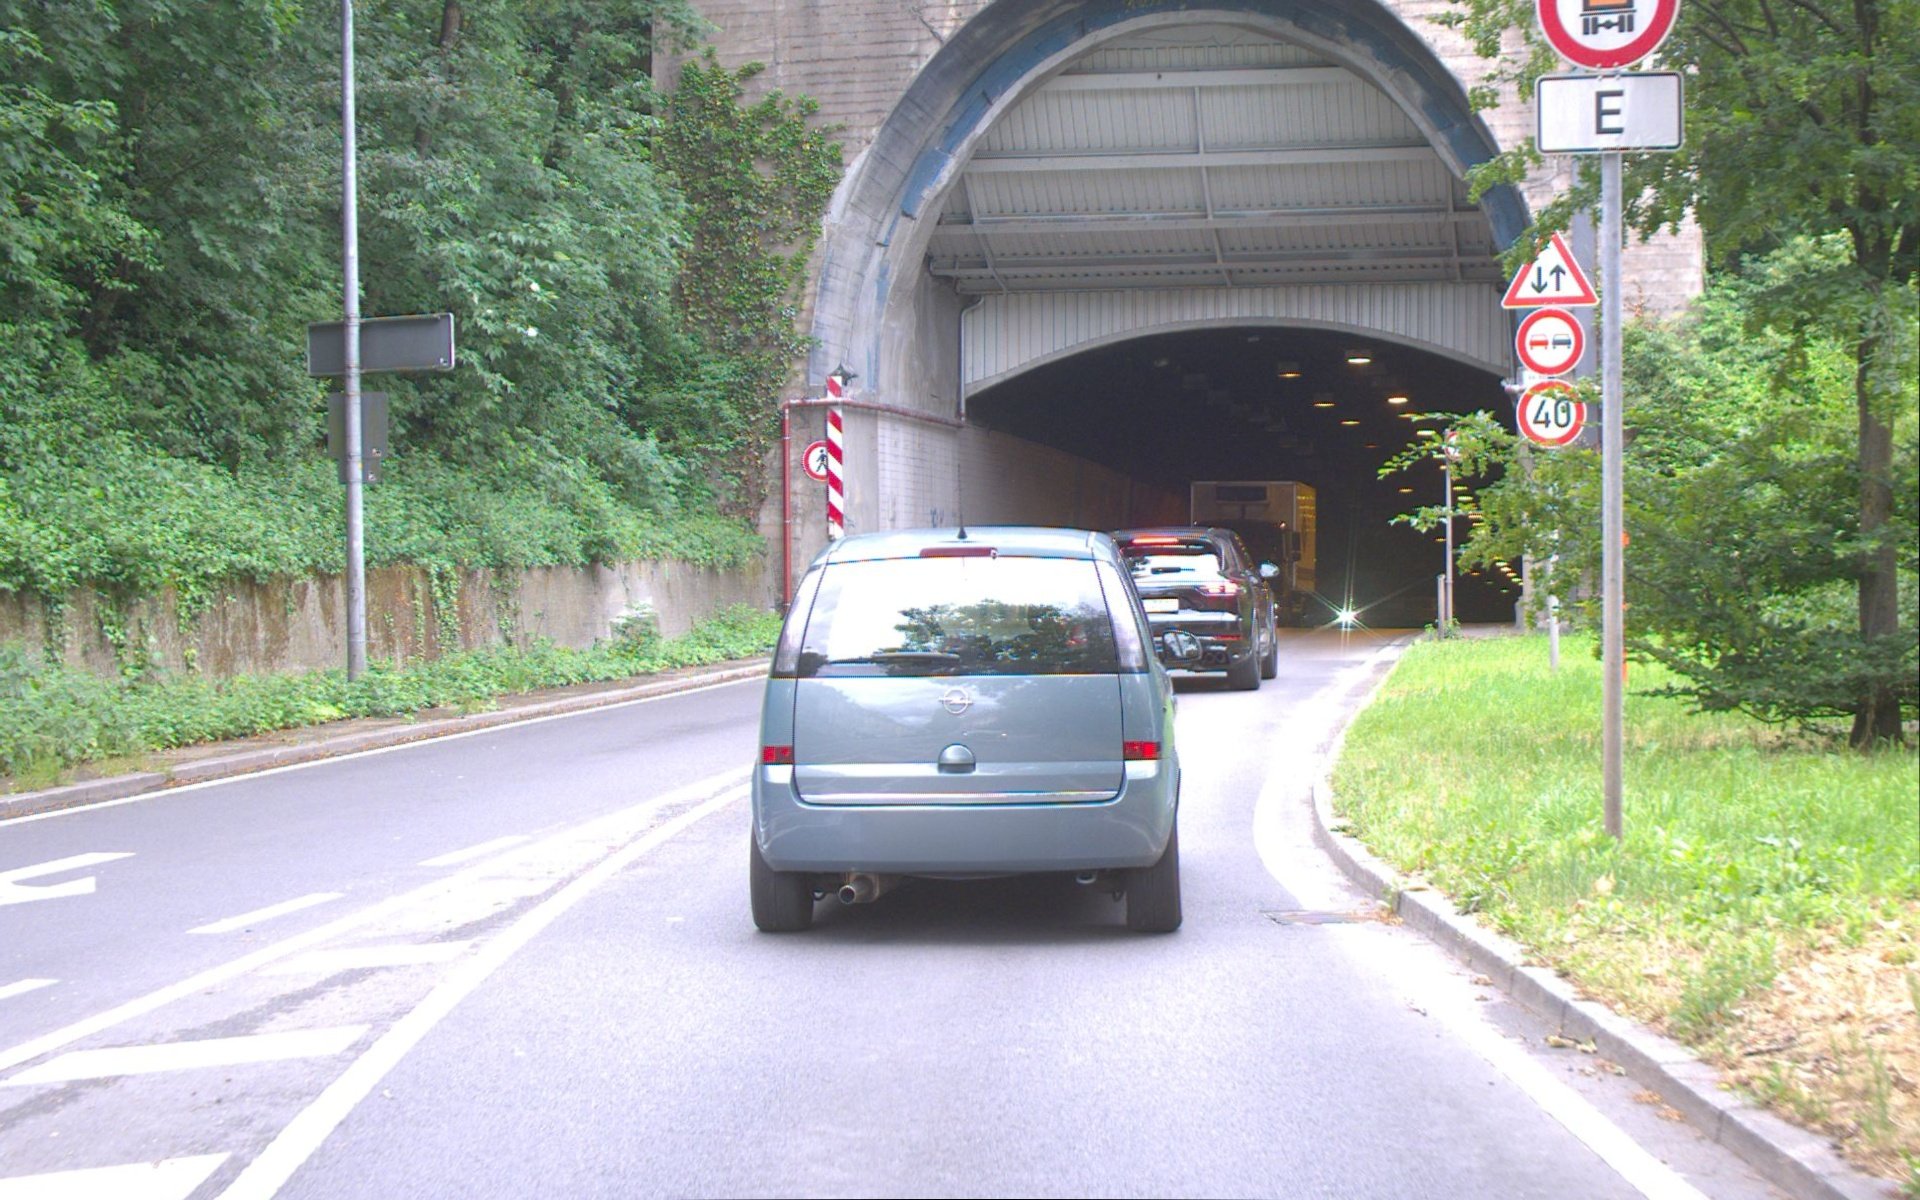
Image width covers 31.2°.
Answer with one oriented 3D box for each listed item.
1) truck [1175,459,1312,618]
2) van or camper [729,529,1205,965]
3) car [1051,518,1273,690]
[{"bbox_3d":[6.932,-1.461,83.225,2.676,3.654,7.515,0,1,9],"label":"truck"},{"bbox_3d":[-0.001,0.508,14.555,1.735,1.572,3.646,-1,1,-1],"label":"van or camper"},{"bbox_3d":[2.177,0.022,35.985,1.994,1.647,3.999,-2,0,8],"label":"car"}]
